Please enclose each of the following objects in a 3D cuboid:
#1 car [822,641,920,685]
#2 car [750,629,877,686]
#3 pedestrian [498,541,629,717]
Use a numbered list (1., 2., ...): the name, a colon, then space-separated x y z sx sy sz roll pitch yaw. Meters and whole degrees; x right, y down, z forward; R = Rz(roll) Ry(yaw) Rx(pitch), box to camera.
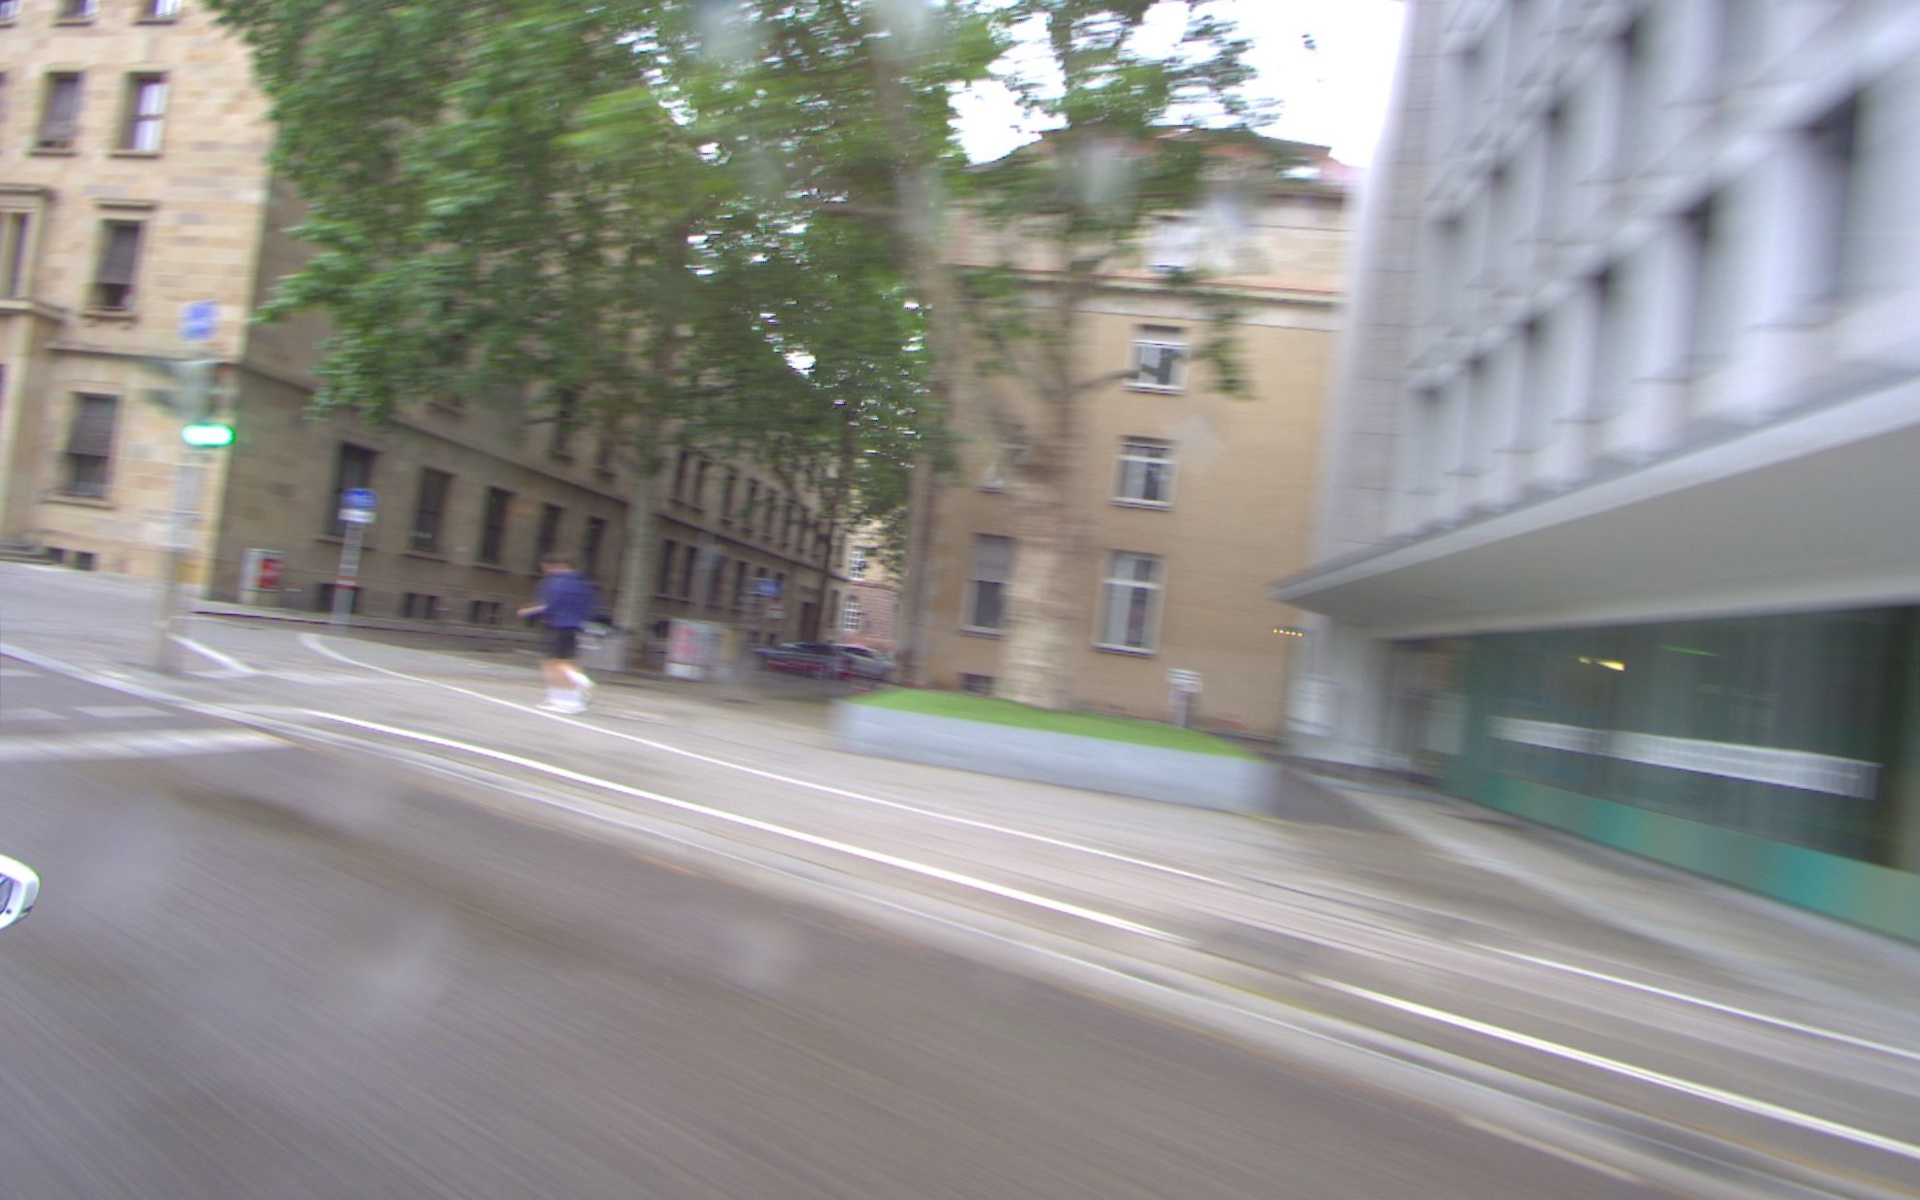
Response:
1. car: -4.543 3.215 51.736 4.591 1.481 1.889 9 0 5
2. car: -5.730 2.238 39.580 4.457 1.481 1.890 9 0 8
3. pedestrian: -4.378 0.328 11.130 0.849 1.792 0.780 7 -2 34
